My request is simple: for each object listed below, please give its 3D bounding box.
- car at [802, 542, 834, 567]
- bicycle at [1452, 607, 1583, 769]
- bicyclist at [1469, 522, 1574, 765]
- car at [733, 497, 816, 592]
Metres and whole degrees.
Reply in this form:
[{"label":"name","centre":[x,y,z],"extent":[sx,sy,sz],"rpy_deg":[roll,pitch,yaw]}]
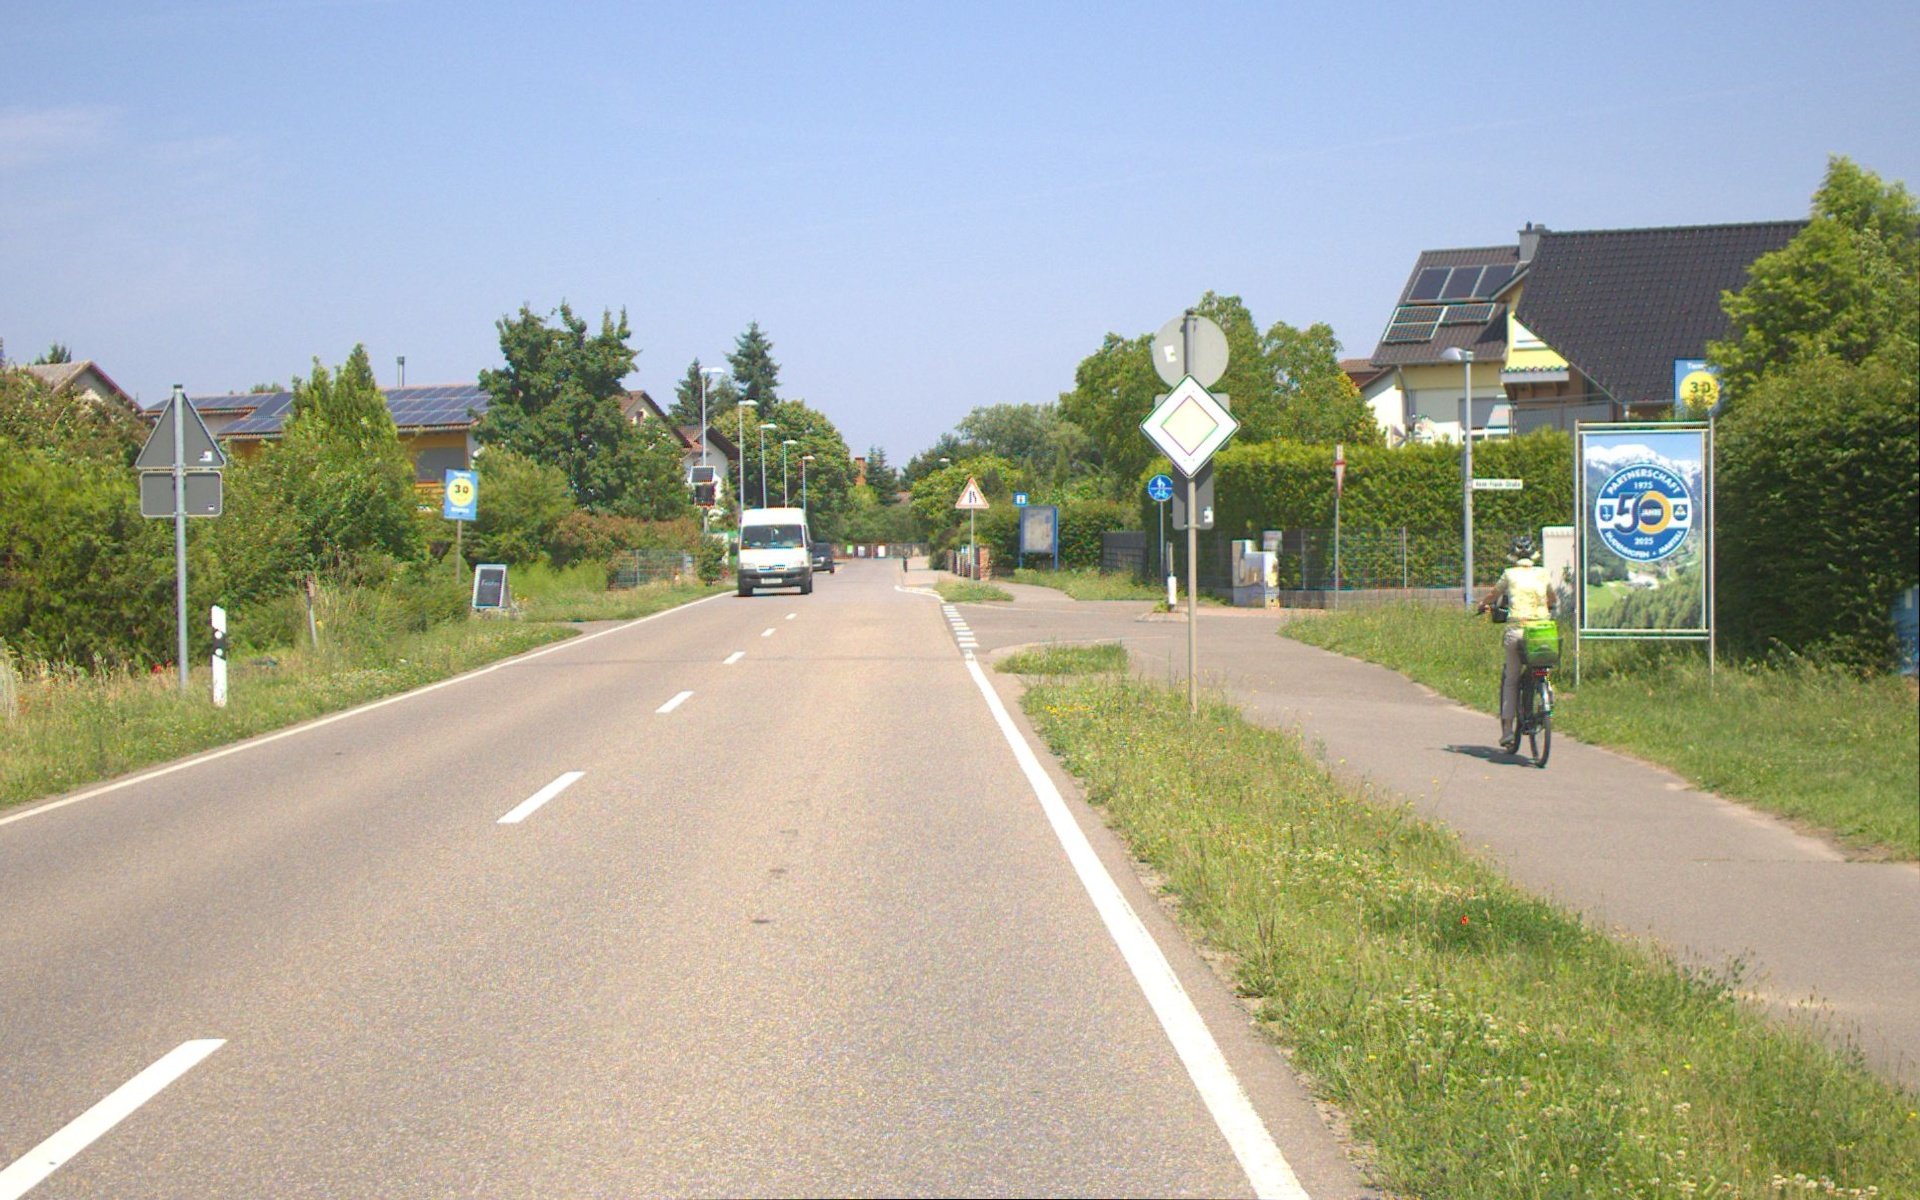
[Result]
[{"label":"car","centre":[-8.181,-2.646,198.617],"extent":[1.759,1.380,3.453],"rpy_deg":[-2,1,-1]},{"label":"bicycle","centre":[4.463,0.681,27.652],"extent":[0.610,1.155,2.274],"rpy_deg":[1,2,-2]},{"label":"bicyclist","centre":[4.466,0.333,27.366],"extent":[0.645,1.883,0.861],"rpy_deg":[1,2,-2]},{"label":"car","centre":[-5.211,-1.596,97.311],"extent":[2.077,2.533,5.874],"rpy_deg":[-2,2,-1]}]
